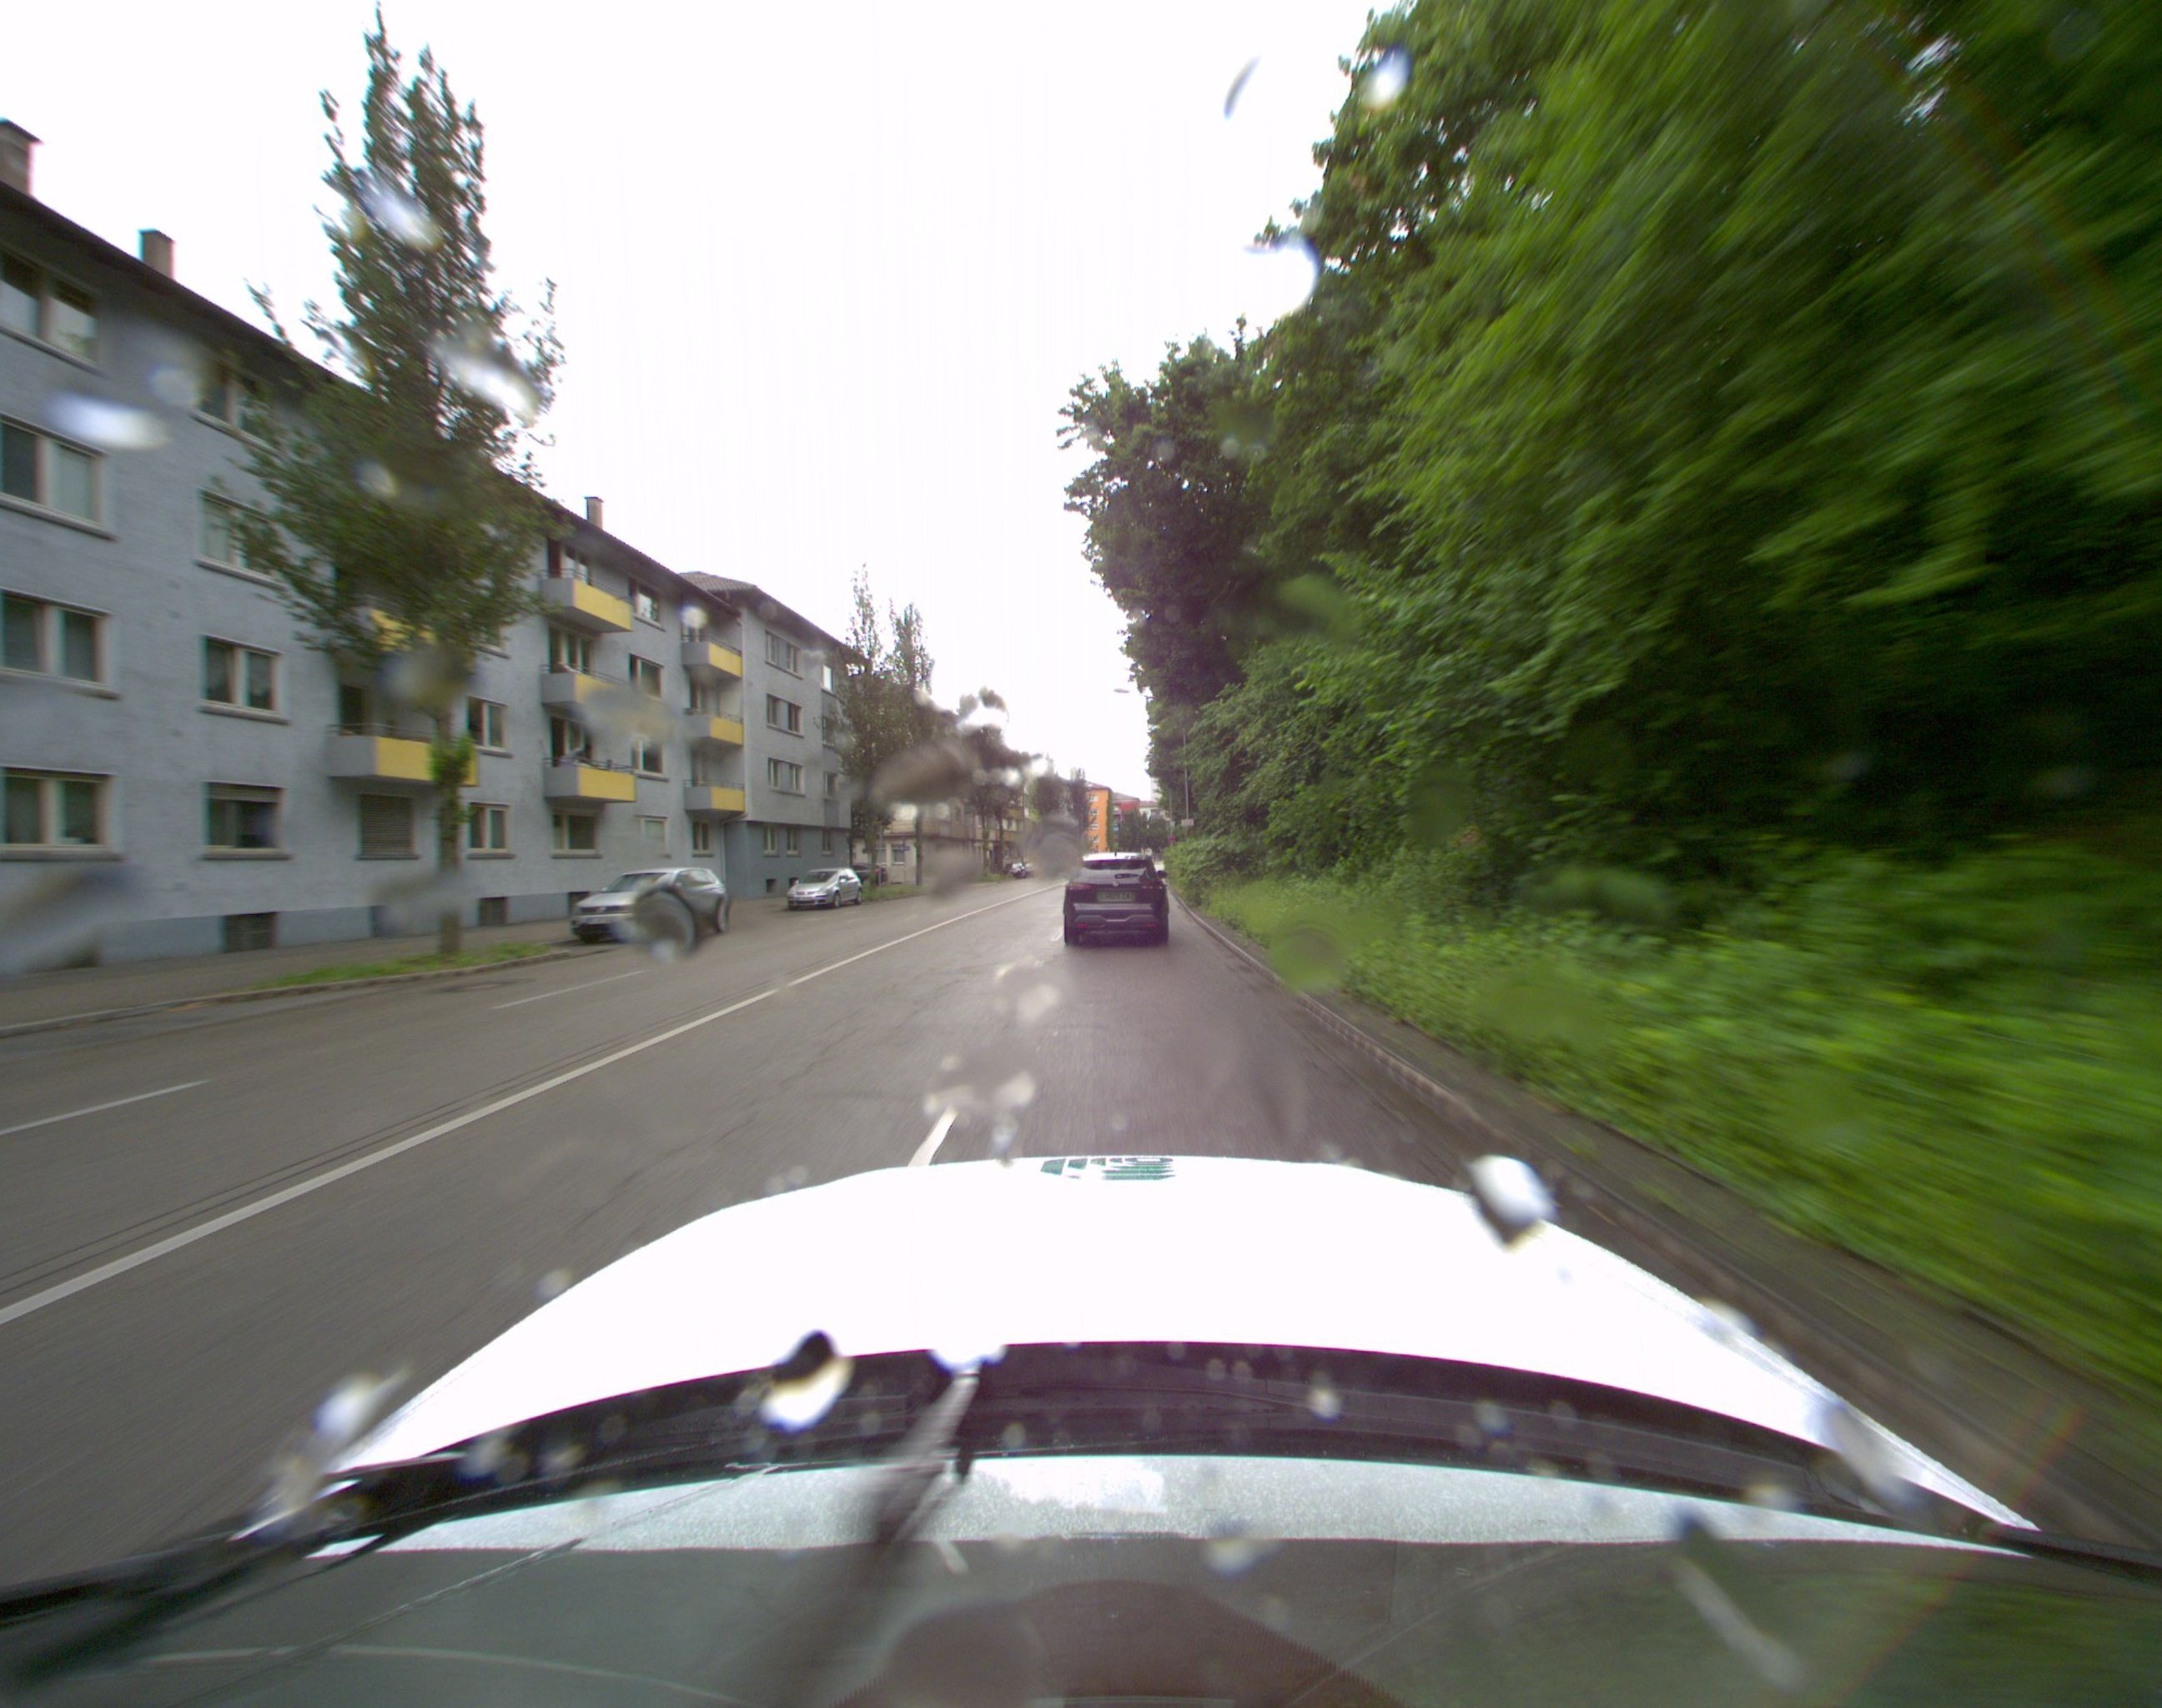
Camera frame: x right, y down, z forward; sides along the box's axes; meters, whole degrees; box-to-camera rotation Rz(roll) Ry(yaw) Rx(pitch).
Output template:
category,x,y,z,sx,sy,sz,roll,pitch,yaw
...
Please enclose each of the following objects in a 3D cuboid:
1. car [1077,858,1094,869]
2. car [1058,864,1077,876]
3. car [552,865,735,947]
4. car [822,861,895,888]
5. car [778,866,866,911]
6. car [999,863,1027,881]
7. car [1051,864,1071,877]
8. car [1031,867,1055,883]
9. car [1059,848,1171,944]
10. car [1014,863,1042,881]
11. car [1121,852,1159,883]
category,x,y,z,sx,sy,sz,roll,pitch,yaw
car,0.708,1.376,121.127,1.678,1.358,4.590,-5,-1,9
car,-1.715,1.995,103.364,1.671,1.376,4.009,-4,-1,8
car,-10.162,1.129,19.402,1.757,1.604,4.535,-2,0,1
car,-14.695,1.343,53.906,4.128,1.579,1.930,-2,0,5
car,-9.535,1.233,30.341,1.717,1.453,4.207,-2,-1,2
car,-5.811,1.510,70.167,1.617,1.387,3.996,-3,0,6
car,-2.368,1.963,97.103,1.808,1.372,4.688,-3,0,6
car,-3.997,2.179,85.602,1.709,1.489,4.523,-3,0,7
car,0.618,0.700,15.483,1.838,1.582,4.001,0,0,1
car,-4.999,1.695,76.924,1.808,1.489,4.797,-3,0,5
car,3.561,0.790,48.464,1.875,1.711,4.011,-1,0,10
